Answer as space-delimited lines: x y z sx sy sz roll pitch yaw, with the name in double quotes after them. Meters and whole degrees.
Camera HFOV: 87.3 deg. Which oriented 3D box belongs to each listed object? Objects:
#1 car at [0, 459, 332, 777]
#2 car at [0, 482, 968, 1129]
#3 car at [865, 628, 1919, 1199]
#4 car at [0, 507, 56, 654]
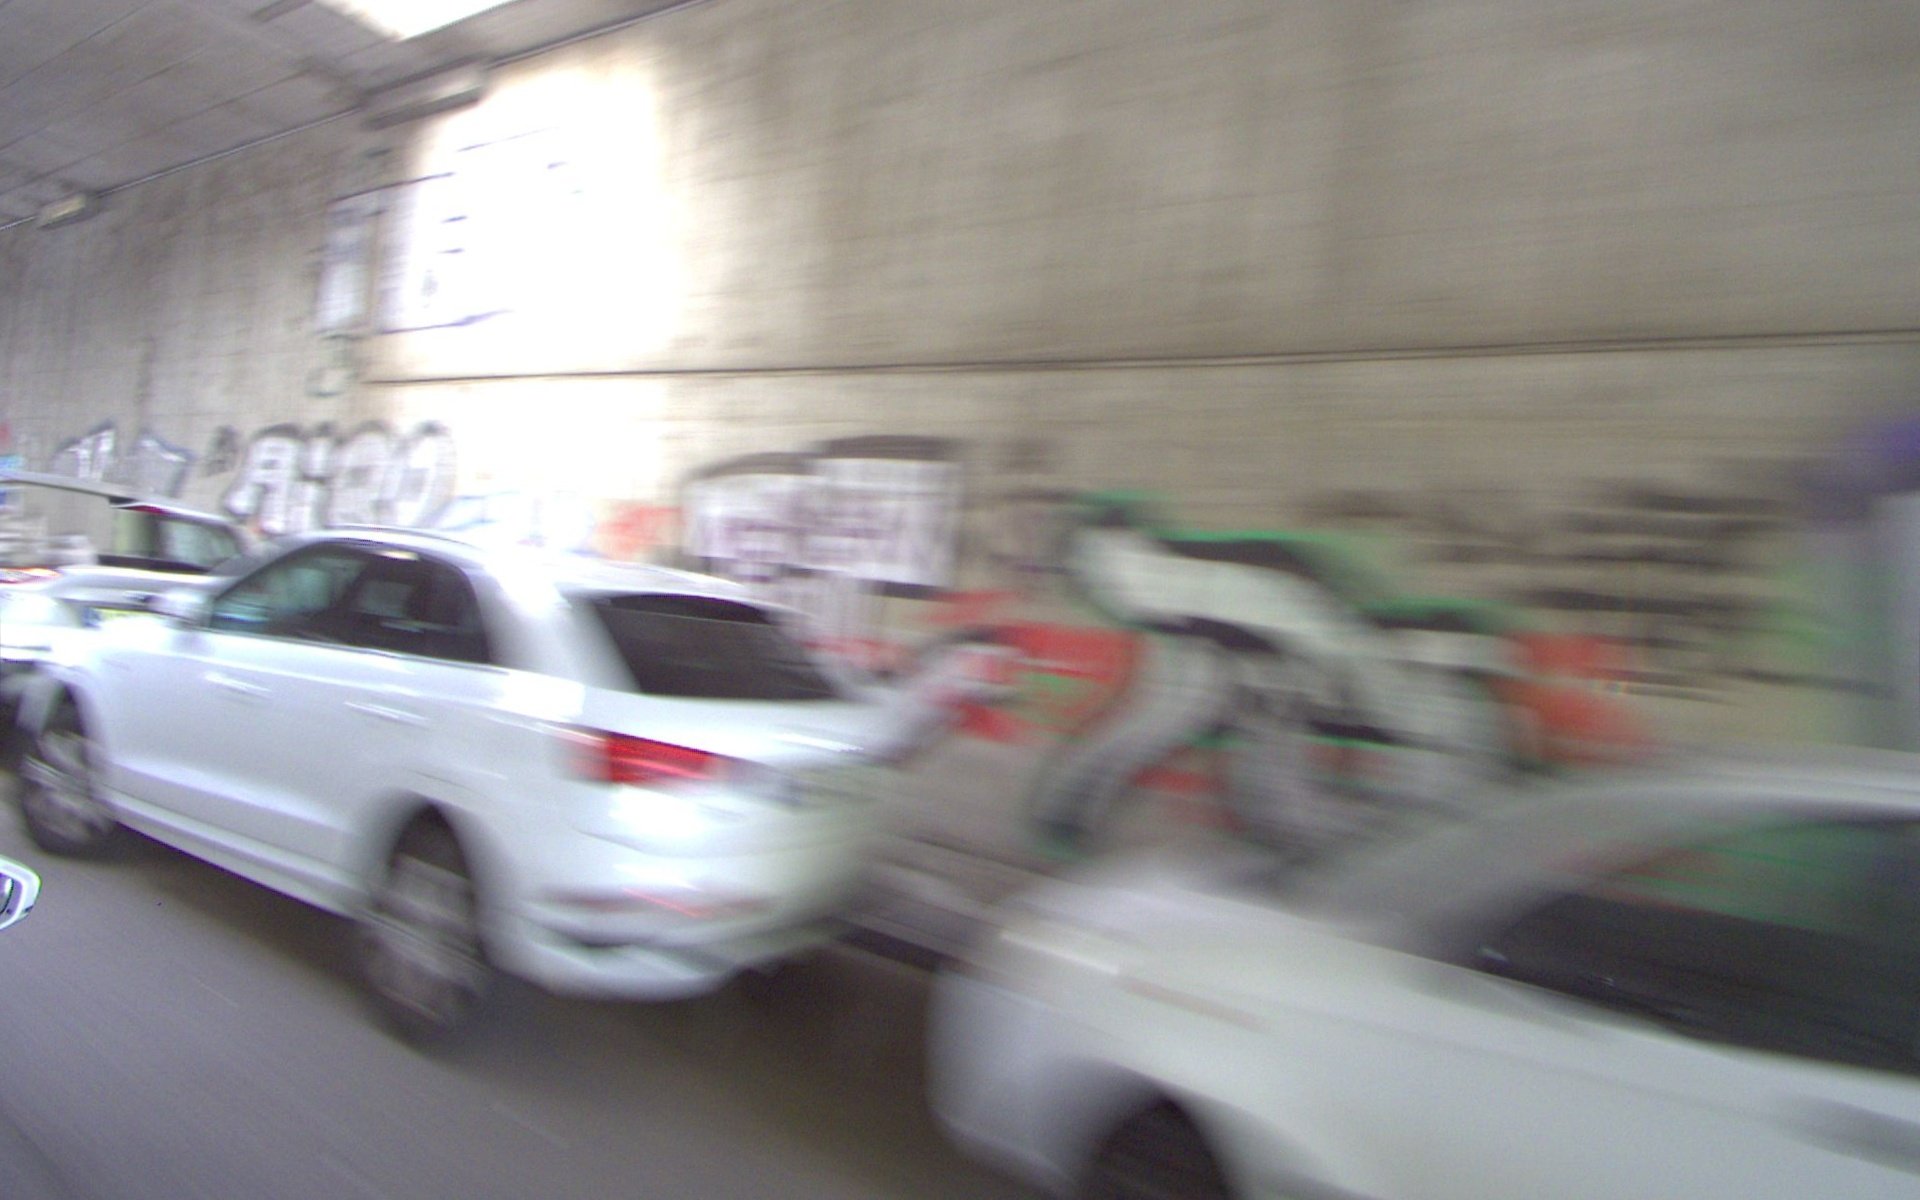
-6.564 -0.058 7.018 4.298 1.686 1.856 7 -1 32 "car"
-2.234 0.486 4.381 4.085 1.564 1.733 6 -1 29 "car"
1.772 1.040 2.368 3.575 1.505 1.607 6 -1 28 "car"
-11.288 -0.437 10.364 4.301 1.390 1.704 6 -2 32 "car"
